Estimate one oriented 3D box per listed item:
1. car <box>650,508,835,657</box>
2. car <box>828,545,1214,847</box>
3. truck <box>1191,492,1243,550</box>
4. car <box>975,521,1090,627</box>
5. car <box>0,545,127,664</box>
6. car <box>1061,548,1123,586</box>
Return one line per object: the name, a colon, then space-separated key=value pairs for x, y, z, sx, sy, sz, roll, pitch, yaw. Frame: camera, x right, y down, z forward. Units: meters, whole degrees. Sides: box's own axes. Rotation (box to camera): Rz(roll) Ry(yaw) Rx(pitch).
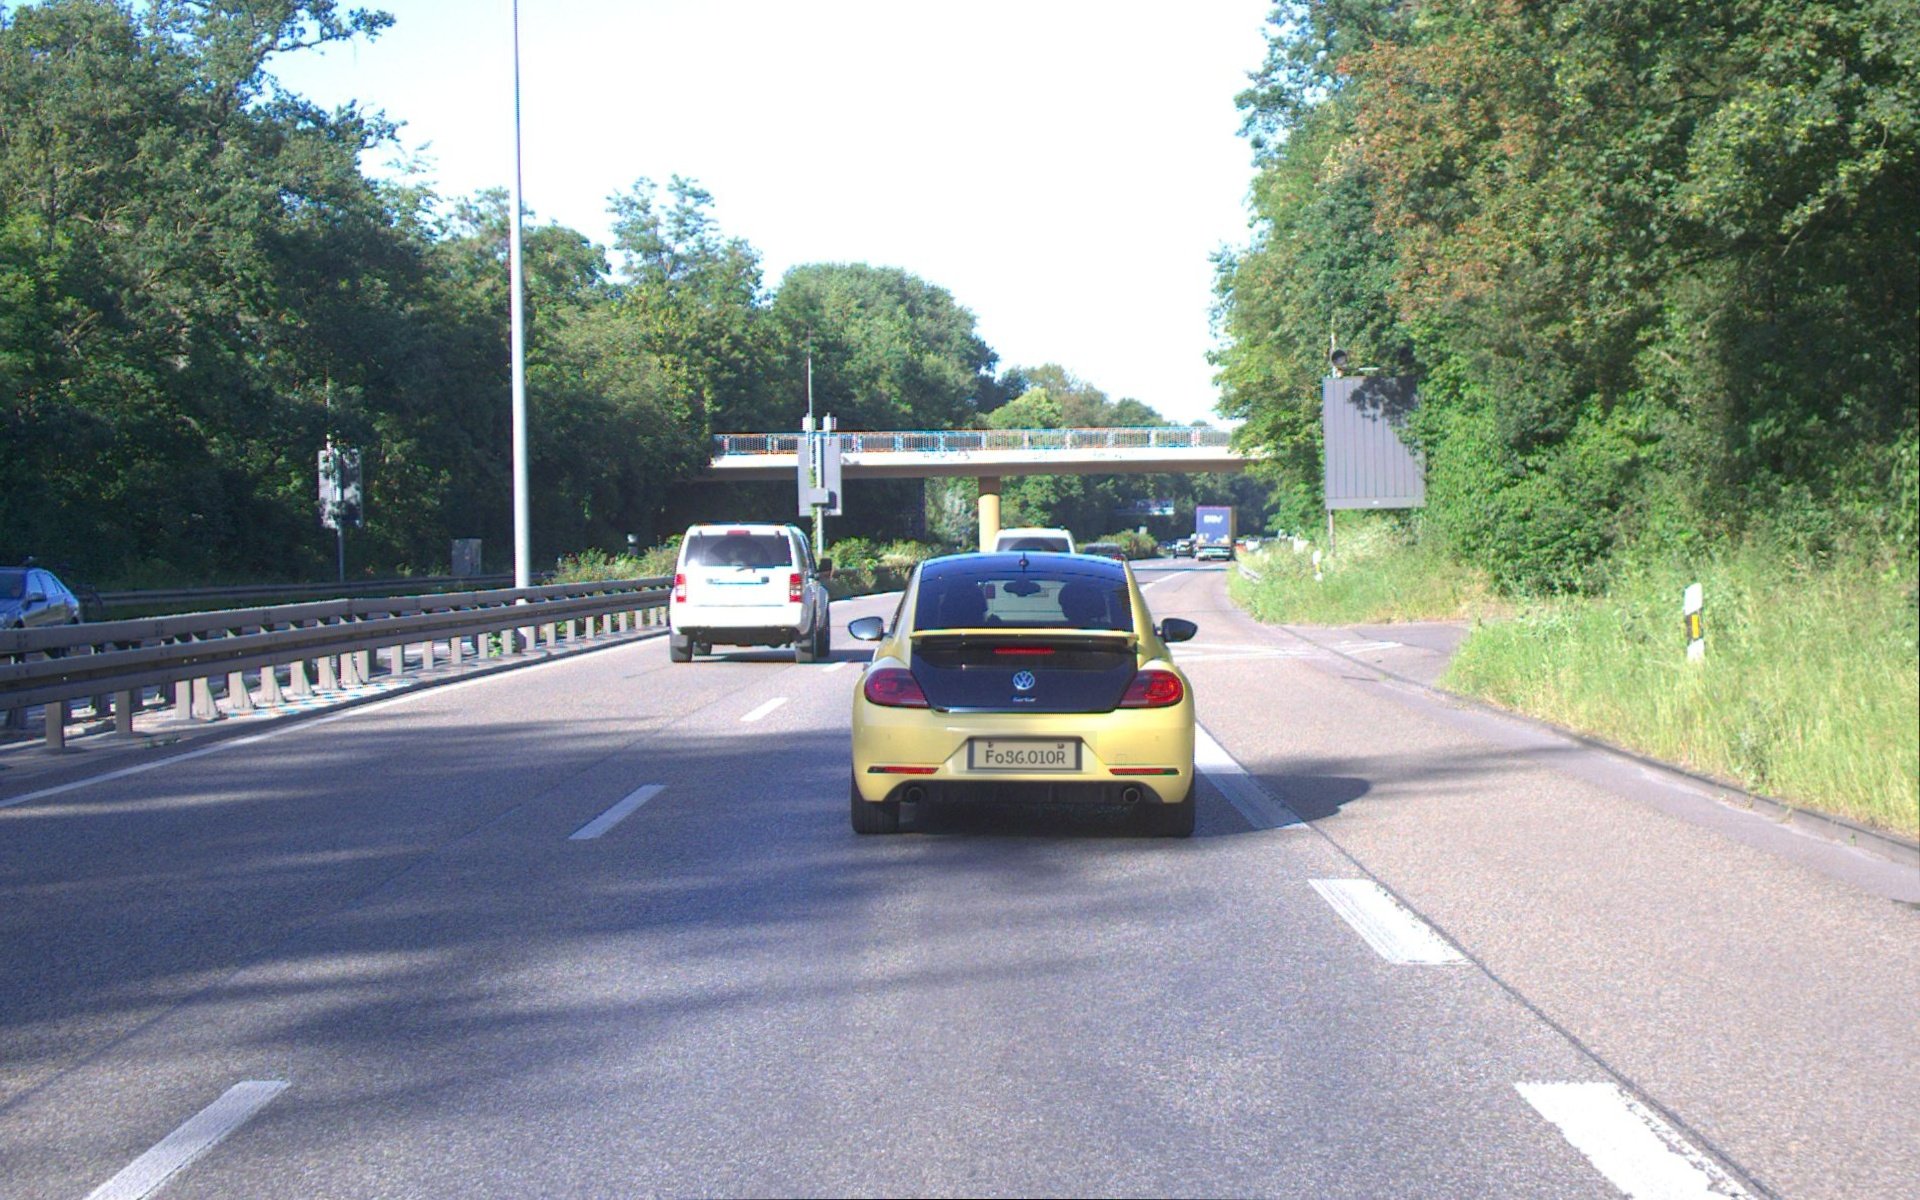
car: x=-2.774 y=-0.248 z=44.717 sx=2.085 sy=1.822 sz=4.000 roll=-1 pitch=1 yaw=1
car: x=0.337 y=0.443 z=19.149 sx=1.879 sy=1.456 sz=4.356 roll=1 pitch=1 yaw=1
truck: x=19.115 y=-5.816 z=255.206 sx=3.497 sy=4.158 sz=8.860 roll=-1 pitch=1 yaw=6
car: x=1.226 y=-0.467 z=59.888 sx=1.863 sy=1.764 sz=4.470 roll=-1 pitch=1 yaw=0
car: x=-14.657 y=0.014 z=52.982 sx=2.119 sy=1.719 sz=5.876 roll=0 pitch=1 yaw=1
car: x=4.894 y=-1.228 z=126.745 sx=1.994 sy=1.393 sz=3.999 roll=0 pitch=1 yaw=6
